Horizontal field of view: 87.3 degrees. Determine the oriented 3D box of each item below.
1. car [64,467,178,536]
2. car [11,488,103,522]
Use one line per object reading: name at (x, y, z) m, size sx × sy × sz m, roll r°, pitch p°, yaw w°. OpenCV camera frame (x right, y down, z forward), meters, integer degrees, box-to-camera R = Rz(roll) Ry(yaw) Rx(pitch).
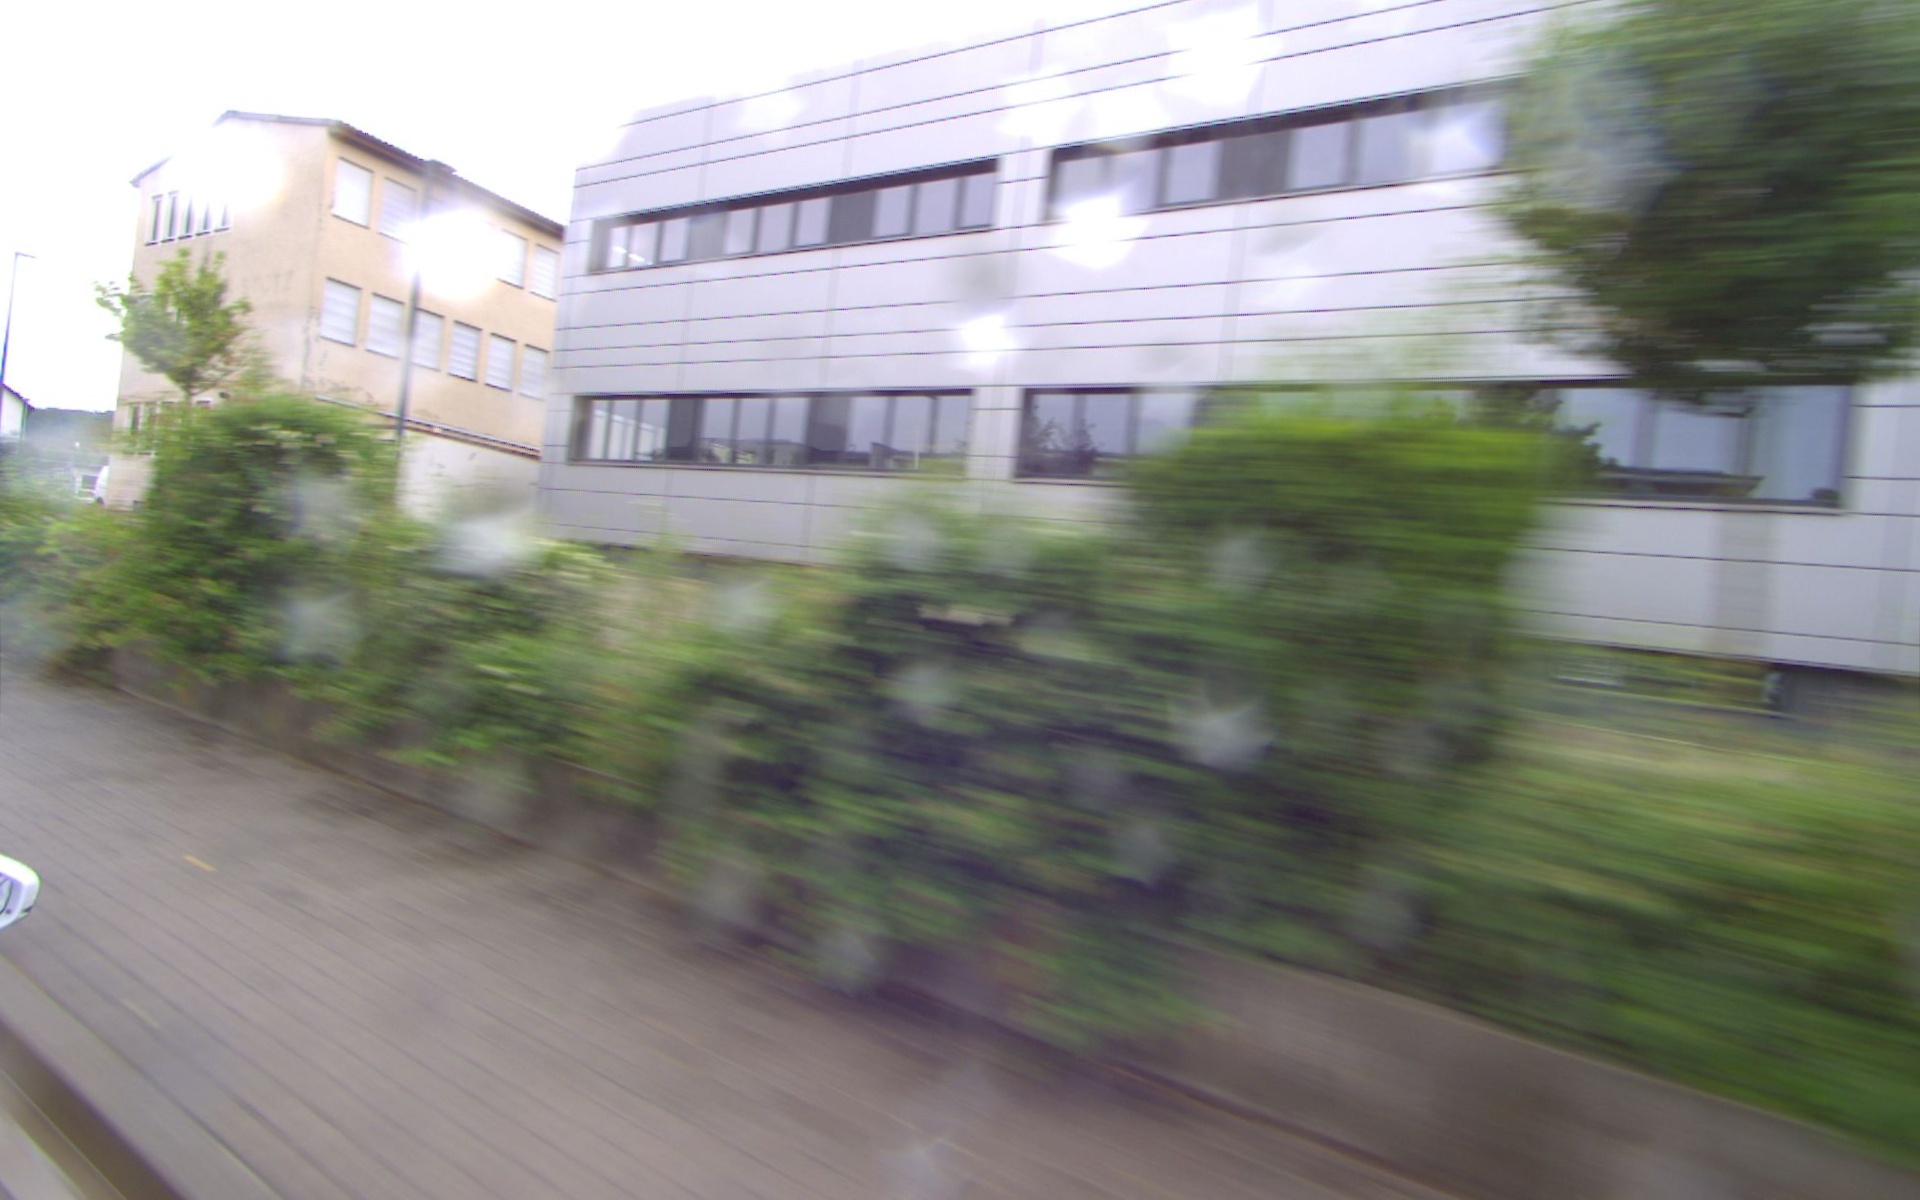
car at (-32.139, -3.799, 38.527) m, size 4.522 × 2.039 × 1.796 m, roll 9°, pitch 2°, yaw 30°
car at (-52.900, -5.581, 59.003) m, size 1.584 × 1.473 × 3.764 m, roll 6°, pitch 0°, yaw 37°
